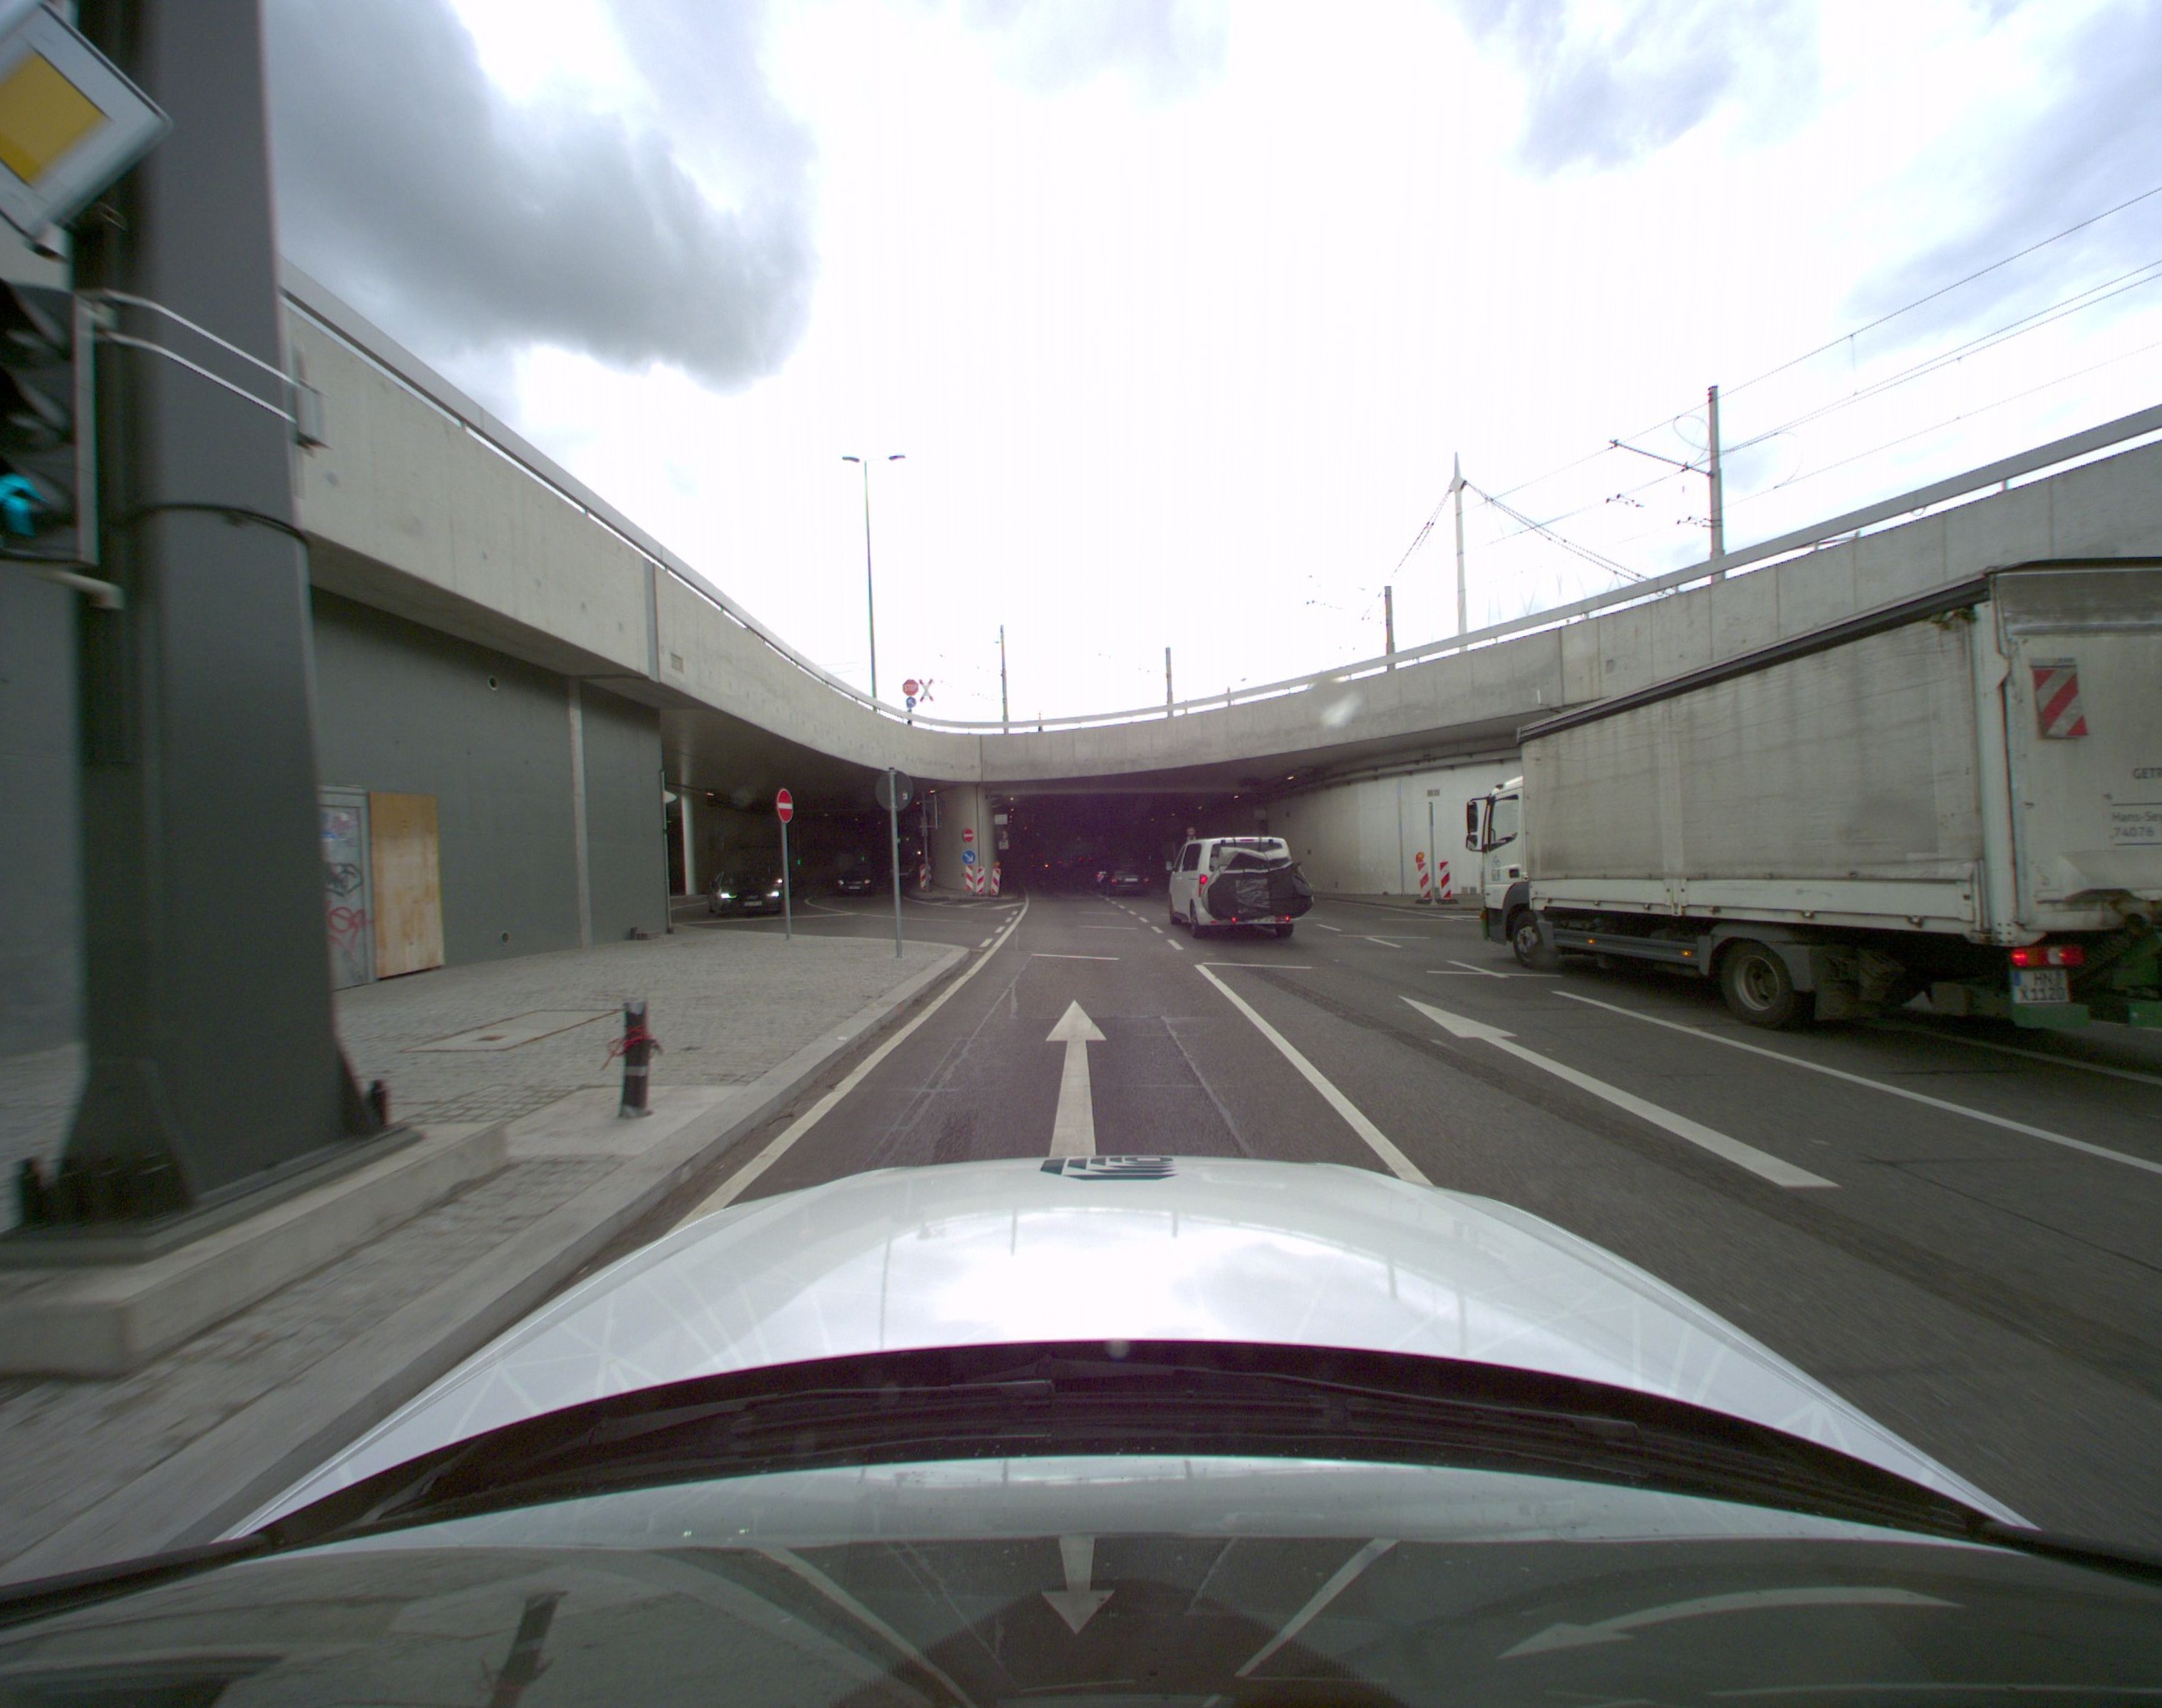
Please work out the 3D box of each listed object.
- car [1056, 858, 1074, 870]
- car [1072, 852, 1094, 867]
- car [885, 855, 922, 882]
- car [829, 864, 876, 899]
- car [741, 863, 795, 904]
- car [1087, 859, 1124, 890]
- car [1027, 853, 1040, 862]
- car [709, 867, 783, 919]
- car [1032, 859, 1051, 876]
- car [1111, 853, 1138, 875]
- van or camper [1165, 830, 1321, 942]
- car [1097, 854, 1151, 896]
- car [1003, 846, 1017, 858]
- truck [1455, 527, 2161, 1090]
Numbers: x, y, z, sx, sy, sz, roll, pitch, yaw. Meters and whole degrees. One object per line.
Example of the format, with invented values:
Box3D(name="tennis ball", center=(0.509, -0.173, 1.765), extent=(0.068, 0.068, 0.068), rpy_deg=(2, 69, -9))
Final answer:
Box3D(name="car", center=(-1.749, 1.064, 87.095), extent=(1.661, 1.247, 3.561), rpy_deg=(-2, -1, -5))
Box3D(name="car", center=(0.222, 0.676, 95.923), extent=(1.988, 1.676, 4.496), rpy_deg=(-2, -1, -8))
Box3D(name="car", center=(-11.893, 0.949, 54.839), extent=(1.805, 1.604, 4.779), rpy_deg=(-2, 1, -5))
Box3D(name="car", center=(-10.669, 1.222, 37.811), extent=(1.671, 1.441, 4.083), rpy_deg=(-2, 1, -22))
Box3D(name="car", center=(-13.780, 1.259, 36.023), extent=(1.797, 1.599, 4.304), rpy_deg=(-2, 0, -16))
Box3D(name="car", center=(1.392, 1.172, 47.912), extent=(1.815, 1.580, 3.996), rpy_deg=(2, 0, -3))
Box3D(name="car", center=(-6.664, 0.497, 114.132), extent=(1.508, 1.247, 3.555), rpy_deg=(-2, 0, -10))
Box3D(name="car", center=(-10.998, 1.201, 26.520), extent=(1.861, 1.443, 4.801), rpy_deg=(-2, 0, -27))
Box3D(name="car", center=(-3.679, 1.276, 75.720), extent=(1.657, 1.488, 3.561), rpy_deg=(-2, -1, -5))
Box3D(name="car", center=(3.426, 0.801, 64.763), extent=(1.657, 1.634, 3.561), rpy_deg=(2, 0, -5))
Box3D(name="van or camper", center=(2.961, 0.571, 16.187), extent=(1.987, 1.845, 5.506), rpy_deg=(0, -1, 0))
Box3D(name="car", center=(1.800, 0.926, 35.295), extent=(1.815, 1.684, 3.993), rpy_deg=(-1, -2, -5))
Box3D(name="car", center=(-13.186, -0.403, 151.271), extent=(1.995, 2.013, 3.984), rpy_deg=(-2, 0, -11))
Box3D(name="truck", center=(6.818, -0.315, 8.347), extent=(2.640, 3.185, 7.429), rpy_deg=(-2, 0, 2))
